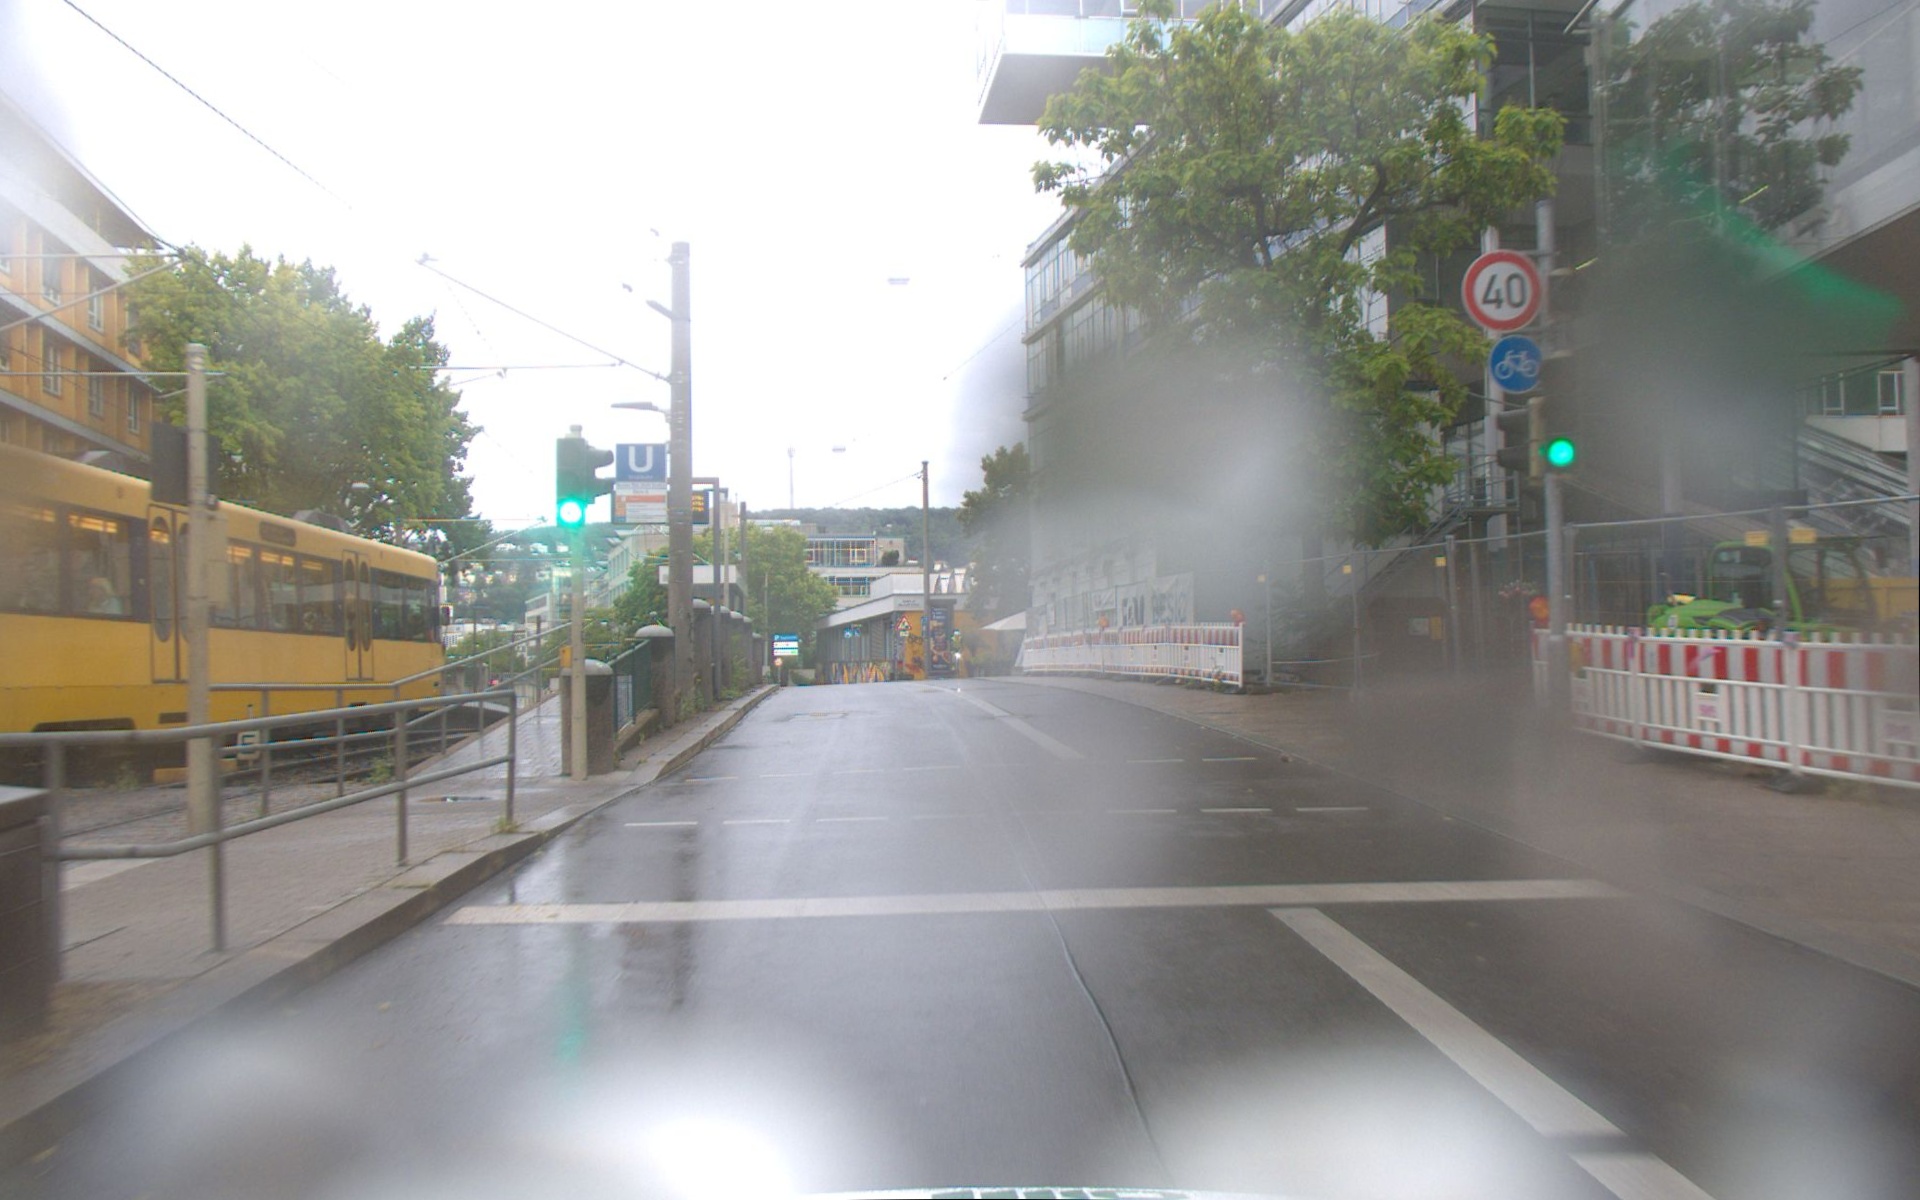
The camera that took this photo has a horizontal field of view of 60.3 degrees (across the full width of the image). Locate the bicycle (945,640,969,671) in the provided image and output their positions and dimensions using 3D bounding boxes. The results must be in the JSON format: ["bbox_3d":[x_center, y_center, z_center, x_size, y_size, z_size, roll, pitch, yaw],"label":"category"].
[{"bbox_3d":[-0.130,2.065,61.206,0.649,1.071,2.054,-5,-2,-4],"label":"bicycle"}]

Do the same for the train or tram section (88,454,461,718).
[{"bbox_3d":[-11.225,-0.186,28.438,2.723,3.757,9.709,0,0,-2],"label":"train or tram section"}]

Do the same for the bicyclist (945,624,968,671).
[{"bbox_3d":[-0.131,1.765,61.153,0.649,1.667,0.792,-5,-2,-5],"label":"bicyclist"}]

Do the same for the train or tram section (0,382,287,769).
[{"bbox_3d":[-10.785,-0.218,18.827,2.723,3.757,9.505,0,0,-2],"label":"train or tram section"}]

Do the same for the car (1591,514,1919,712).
[{"bbox_3d":[9.355,0.144,19.253,1.972,2.017,4.193,-1,0,-8],"label":"car"}]
